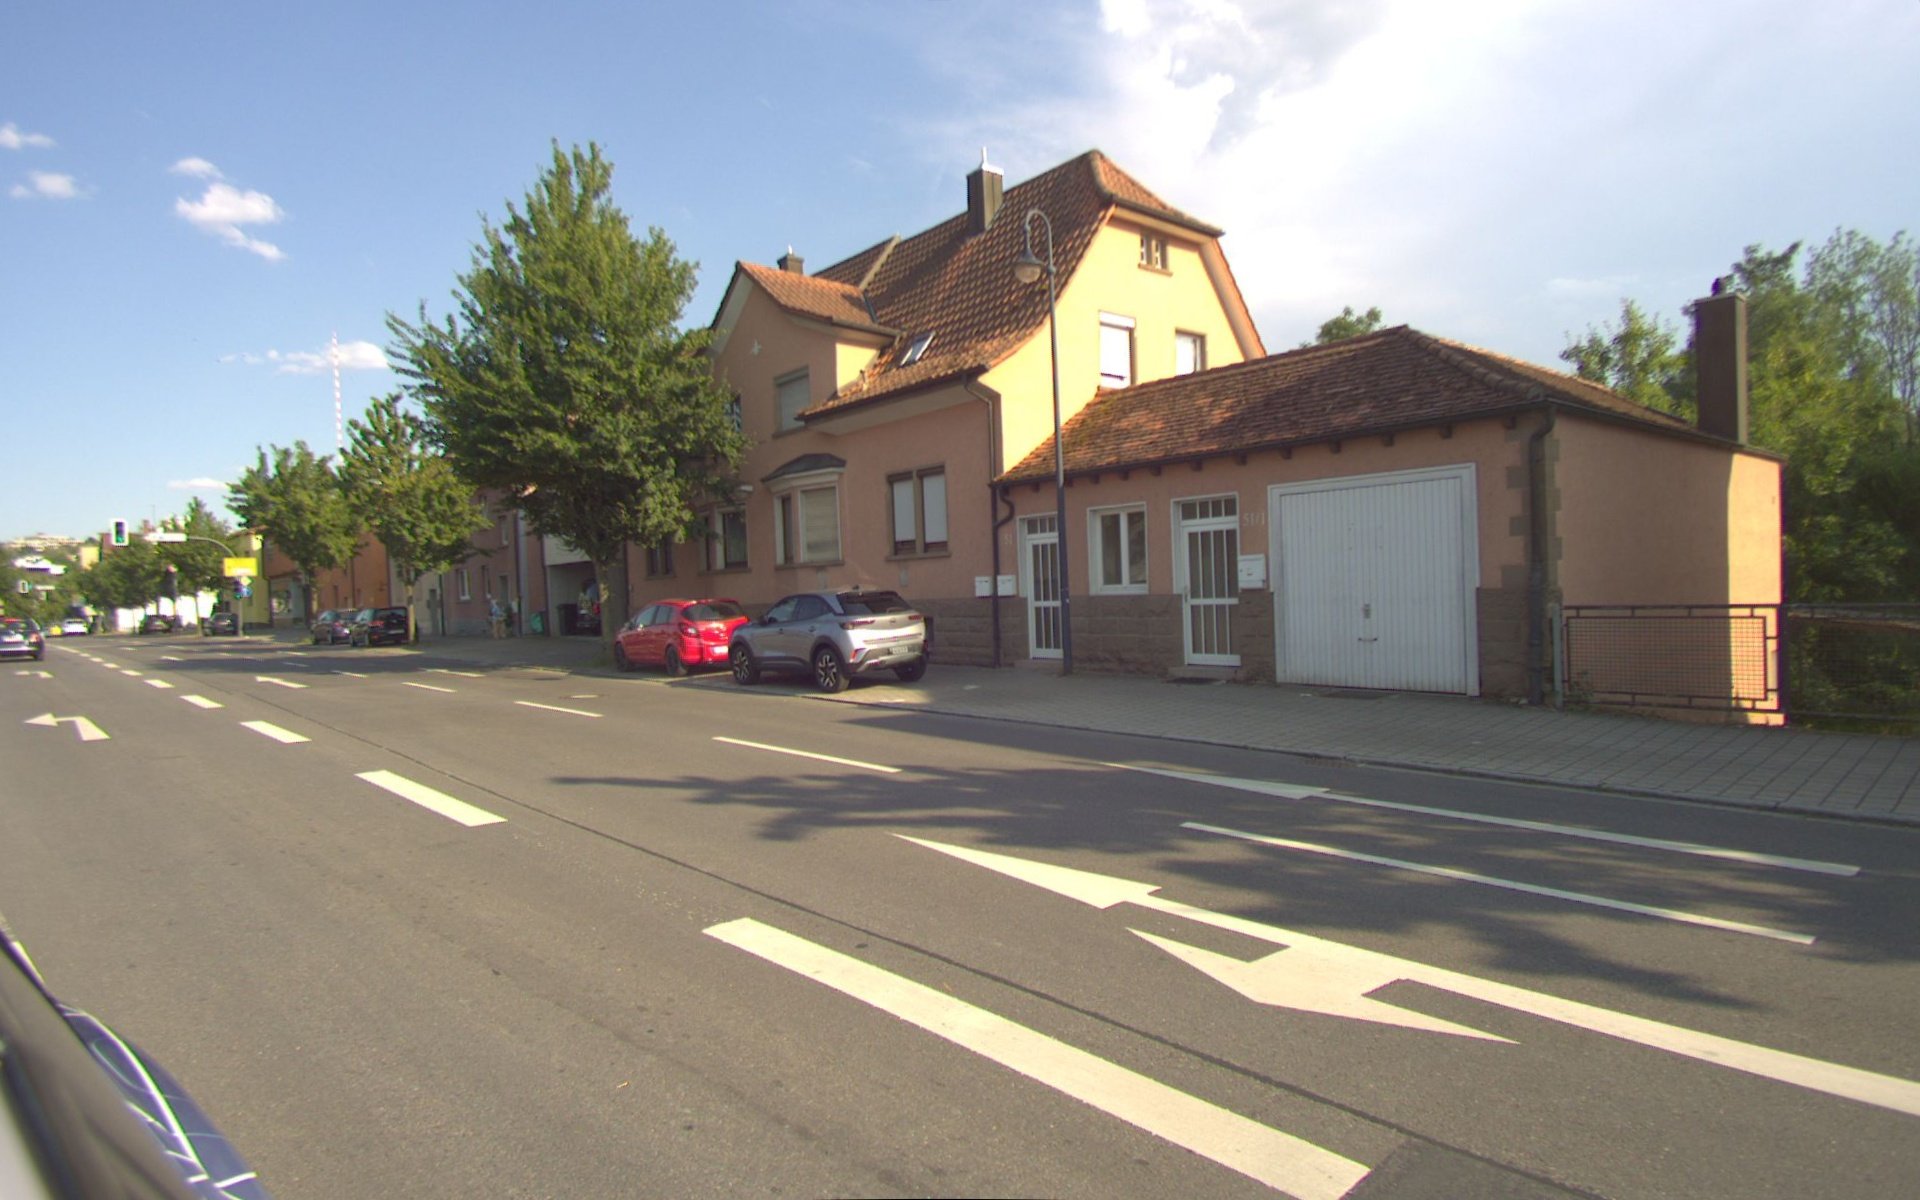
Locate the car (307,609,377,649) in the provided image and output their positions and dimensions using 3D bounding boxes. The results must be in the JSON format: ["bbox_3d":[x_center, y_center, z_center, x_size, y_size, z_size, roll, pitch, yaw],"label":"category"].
[{"bbox_3d":[-25.806,1.229,42.210,3.886,1.521,1.495,-2,1,44],"label":"car"}]

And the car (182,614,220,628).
[{"bbox_3d":[-87.070,2.399,116.091,1.601,1.555,3.426,-2,-1,5],"label":"car"}]

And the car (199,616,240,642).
[{"bbox_3d":[-46.600,1.818,63.661,1.573,1.449,3.779,-7,3,-42],"label":"car"}]

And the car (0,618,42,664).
[{"bbox_3d":[-32.548,1.420,34.633,1.514,1.473,3.508,-2,-1,-45],"label":"car"}]

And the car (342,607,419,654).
[{"bbox_3d":[-21.709,1.136,37.837,1.646,1.543,3.907,-5,2,-42],"label":"car"}]

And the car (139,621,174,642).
[{"bbox_3d":[-64.786,2.559,81.574,1.833,1.607,4.464,-2,-1,-44],"label":"car"}]

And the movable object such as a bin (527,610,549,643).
[{"bbox_3d":[-15.175,0.949,36.379,0.544,1.151,0.530,-1,-1,-43],"label":"movable object such as a bin"}]

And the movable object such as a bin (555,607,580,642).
[{"bbox_3d":[-13.263,0.821,34.196,0.575,1.151,0.560,-2,-1,39],"label":"movable object such as a bin"}]

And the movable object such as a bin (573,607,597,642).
[{"bbox_3d":[-12.890,0.847,34.785,0.575,1.151,0.560,-2,-1,39],"label":"movable object such as a bin"}]

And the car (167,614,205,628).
[{"bbox_3d":[-89.825,2.441,117.431,1.567,1.576,3.426,-2,0,5],"label":"car"}]

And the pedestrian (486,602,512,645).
[{"bbox_3d":[-17.466,0.880,38.328,0.765,1.619,0.724,-1,-1,-35],"label":"pedestrian"}]

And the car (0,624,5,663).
[{"bbox_3d":[-37.728,1.687,38.804,1.570,1.438,3.581,-1,0,-43],"label":"car"}]

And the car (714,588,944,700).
[{"bbox_3d":[-2.245,0.680,16.539,1.734,1.490,4.006,-5,2,-41],"label":"car"}]

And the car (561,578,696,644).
[{"bbox_3d":[-10.969,0.338,33.616,3.777,1.895,1.780,-4,2,-44],"label":"car"}]

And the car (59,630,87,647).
[{"bbox_3d":[-86.575,3.743,98.739,4.414,1.624,1.667,-2,0,44],"label":"car"}]

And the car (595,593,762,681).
[{"bbox_3d":[-5.792,0.706,20.546,1.645,1.498,4.006,-5,2,-41],"label":"car"}]
